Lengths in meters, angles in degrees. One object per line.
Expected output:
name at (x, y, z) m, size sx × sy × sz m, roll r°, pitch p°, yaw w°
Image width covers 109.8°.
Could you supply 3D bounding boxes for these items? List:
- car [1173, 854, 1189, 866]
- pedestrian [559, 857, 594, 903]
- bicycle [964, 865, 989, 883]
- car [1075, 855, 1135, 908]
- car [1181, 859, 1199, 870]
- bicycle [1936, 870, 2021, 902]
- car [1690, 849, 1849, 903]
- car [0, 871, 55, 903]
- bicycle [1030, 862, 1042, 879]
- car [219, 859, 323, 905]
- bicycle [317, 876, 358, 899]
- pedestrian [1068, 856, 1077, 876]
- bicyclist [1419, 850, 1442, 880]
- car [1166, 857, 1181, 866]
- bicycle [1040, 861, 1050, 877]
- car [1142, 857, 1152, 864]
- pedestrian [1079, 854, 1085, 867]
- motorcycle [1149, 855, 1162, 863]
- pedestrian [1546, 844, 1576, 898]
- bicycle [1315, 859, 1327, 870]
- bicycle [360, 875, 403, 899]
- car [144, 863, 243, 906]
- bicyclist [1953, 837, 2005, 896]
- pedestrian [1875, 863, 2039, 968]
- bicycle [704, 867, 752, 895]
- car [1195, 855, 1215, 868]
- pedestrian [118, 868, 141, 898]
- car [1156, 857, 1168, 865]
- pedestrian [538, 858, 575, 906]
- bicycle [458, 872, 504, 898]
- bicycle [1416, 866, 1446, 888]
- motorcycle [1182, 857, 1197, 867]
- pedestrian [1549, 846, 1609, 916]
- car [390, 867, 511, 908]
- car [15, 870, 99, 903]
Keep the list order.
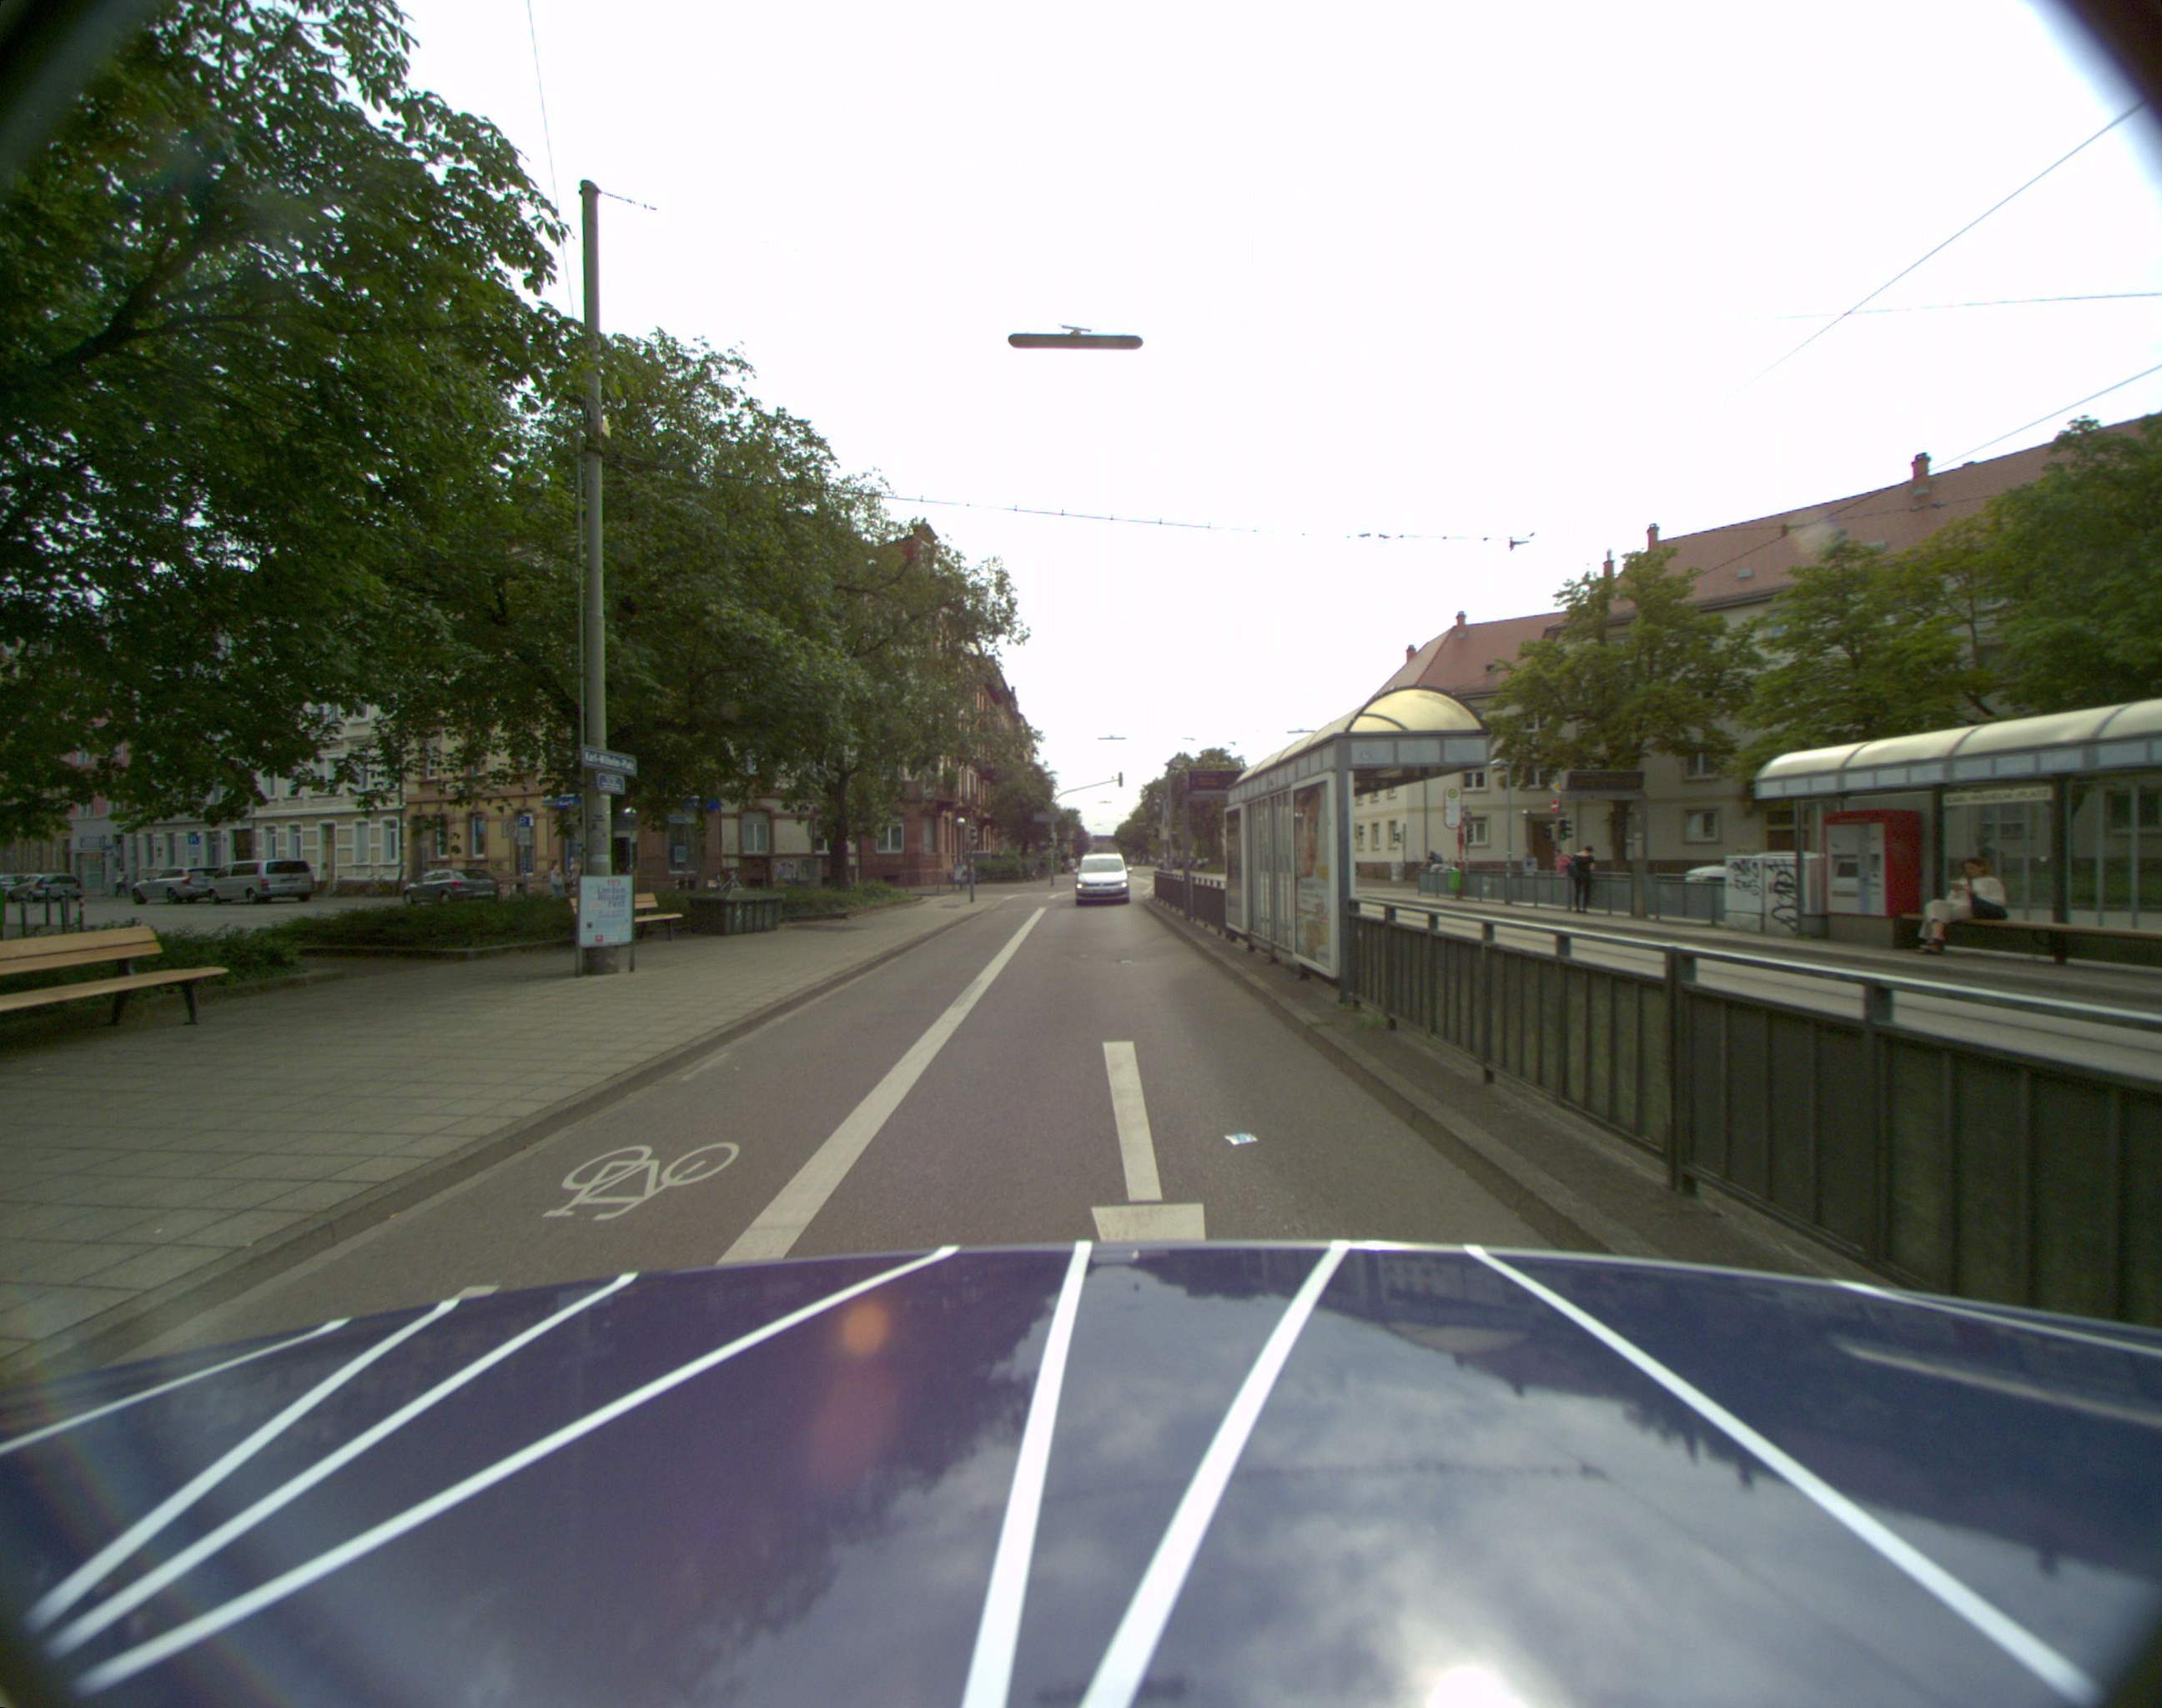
car at (14.633, 0.873, 110.853) m, size 1.790 × 1.602 × 4.300 m, roll 0°, pitch 0°, yaw 0°
pedestrian at (-19.327, 0.992, 29.106) m, size 0.891 × 1.719 × 0.759 m, roll 1°, pitch 0°, yaw 24°
bicycle at (-5.929, 1.124, 43.164) m, size 0.509 × 0.964 × 1.553 m, roll 0°, pitch 0°, yaw 33°
car at (0.823, 0.867, 26.488) m, size 1.876 × 1.670 × 5.132 m, roll 0°, pitch 0°, yaw 1°
car at (14.244, 1.366, 99.149) m, size 1.701 × 1.415 × 4.300 m, roll -2°, pitch 0°, yaw 0°
bicycle at (27.389, 0.953, 23.209) m, size 0.609 × 0.931 × 1.573 m, roll 0°, pitch 0°, yaw -27°
car at (24.934, 0.729, 27.718) m, size 4.146 × 1.711 × 1.844 m, roll 2°, pitch 3°, yaw 40°
car at (-63.019, 1.927, 44.927) m, size 3.990 × 1.740 × 1.821 m, roll -1°, pitch 0°, yaw 22°
bicycle at (-2.951, 1.071, 50.118) m, size 0.672 × 1.100 × 1.672 m, roll 0°, pitch 0°, yaw 1°
car at (-36.707, 1.226, 34.435) m, size 3.990 × 1.969 × 1.871 m, roll -1°, pitch 0°, yaw 22°
bicycle at (-37.072, 1.662, 37.888) m, size 1.935 × 1.114 × 0.674 m, roll 0°, pitch 0°, yaw 19°
pedestrian at (-0.743, 1.078, 67.863) m, size 0.732 × 1.743 × 0.950 m, roll 0°, pitch 0°, yaw 5°
bicyclist at (15.590, 0.471, 33.881) m, size 0.662 × 1.331 × 0.836 m, roll -1°, pitch 0°, yaw 1°
car at (14.652, 1.140, 120.024) m, size 1.701 × 1.462 × 4.299 m, roll 0°, pitch 0°, yaw -2°
bicycle at (-2.490, 1.057, 52.833) m, size 0.510 × 1.082 × 1.550 m, roll 3°, pitch 0°, yaw 1°
car at (15.301, 1.459, 176.699) m, size 1.732 × 1.462 × 4.299 m, roll 0°, pitch 0°, yaw -2°
pedestrian at (0.137, 0.844, 94.268) m, size 0.732 × 1.614 × 0.835 m, roll 0°, pitch 0°, yaw 0°
motorcycle at (15.175, 1.048, 154.947) m, size 2.311 × 1.382 × 0.838 m, roll -6°, pitch 0°, yaw 32°
pedestrian at (17.288, 0.604, 27.389) m, size 0.731 × 1.889 × 0.836 m, roll 0°, pitch 0°, yaw 19°
bicycle at (19.813, 0.845, 62.638) m, size 0.479 × 0.910 × 1.672 m, roll 0°, pitch 0°, yaw 1°
bicycle at (-33.444, 1.560, 36.341) m, size 1.935 × 1.114 × 0.674 m, roll 0°, pitch 0°, yaw 19°
car at (-42.451, 1.424, 36.337) m, size 4.145 × 1.932 × 1.821 m, roll -1°, pitch 0°, yaw 22°
bicyclist at (27.392, 0.379, 23.194) m, size 0.613 × 1.765 × 0.909 m, roll 0°, pitch 0°, yaw -27°
pedestrian at (11.519, 0.779, 10.033) m, size 1.061 × 1.286 × 0.985 m, roll -1°, pitch 0°, yaw -5°
bicycle at (-14.601, 1.119, 31.451) m, size 1.672 × 1.137 × 0.672 m, roll 0°, pitch 0°, yaw -8°
car at (14.805, 0.865, 91.051) m, size 1.701 × 1.415 × 4.300 m, roll -4°, pitch 0°, yaw 0°
pedestrian at (-55.977, 1.694, 44.700) m, size 0.731 × 1.743 × 0.648 m, roll 0°, pitch 0°, yaw 22°
car at (14.878, 1.266, 139.355) m, size 1.701 × 1.462 × 4.299 m, roll -1°, pitch 0°, yaw -2°
pedestrian at (-19.392, 1.023, 28.104) m, size 0.730 × 1.719 × 0.895 m, roll 1°, pitch 0°, yaw 33°
bicycle at (-26.860, 1.386, 34.005) m, size 1.935 × 1.114 × 0.674 m, roll 0°, pitch 0°, yaw 19°
bicycle at (15.591, 1.012, 33.884) m, size 0.662 × 0.943 × 1.550 m, roll -1°, pitch 0°, yaw 1°
motorcycle at (14.764, 1.085, 103.202) m, size 1.871 × 1.253 × 0.592 m, roll -6°, pitch 1°, yaw -3°
pedestrian at (11.780, 0.620, 18.004) m, size 0.854 × 1.611 × 0.843 m, roll -1°, pitch 1°, yaw -5°
car at (-23.957, 1.249, 28.869) m, size 3.990 × 1.433 × 1.821 m, roll -1°, pitch 0°, yaw 22°
car at (-57.574, 1.811, 42.730) m, size 3.990 × 1.740 × 1.821 m, roll -1°, pitch 0°, yaw 22°
